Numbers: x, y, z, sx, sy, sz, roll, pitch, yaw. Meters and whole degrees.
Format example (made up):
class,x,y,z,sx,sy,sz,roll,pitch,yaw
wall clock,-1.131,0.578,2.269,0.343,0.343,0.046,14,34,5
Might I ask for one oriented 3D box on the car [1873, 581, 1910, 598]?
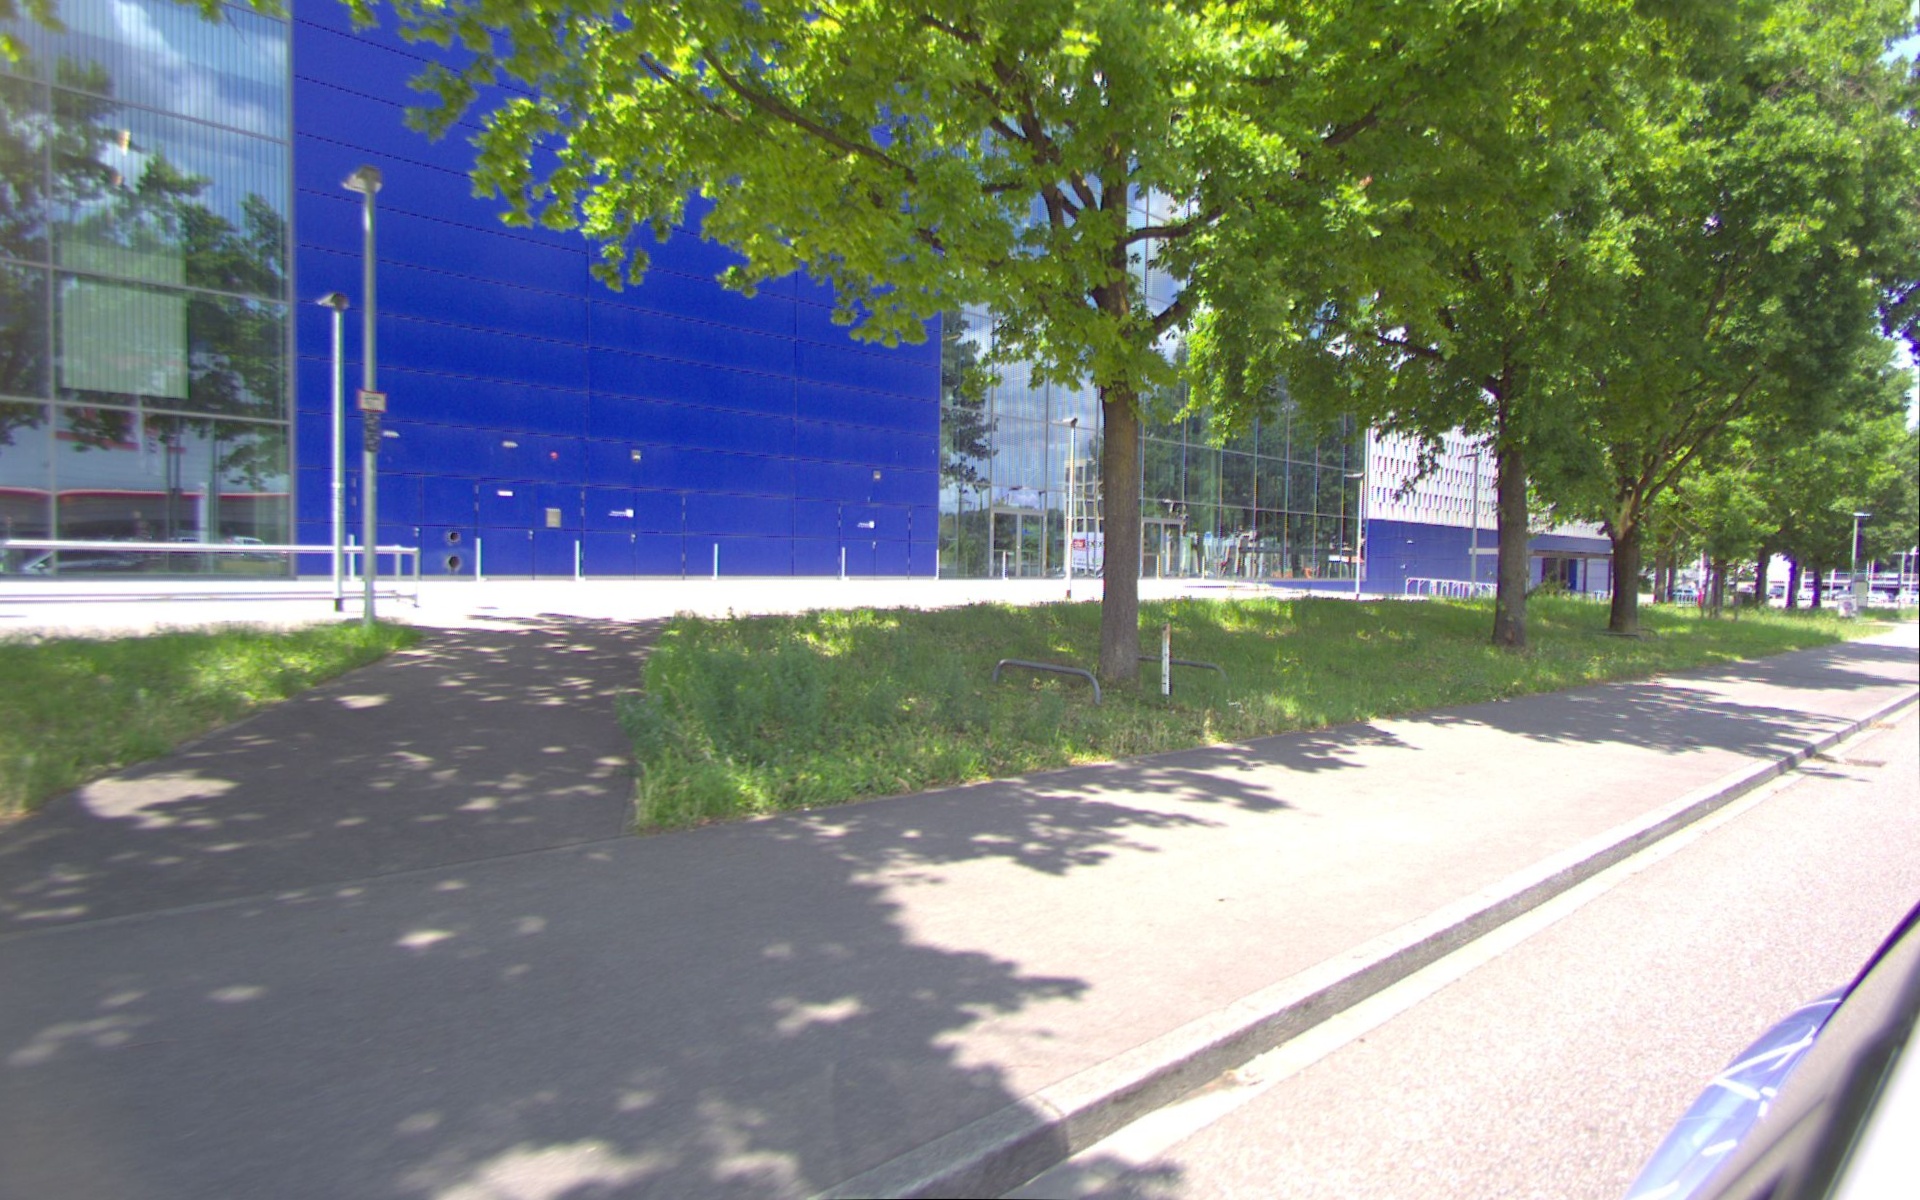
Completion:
class,x,y,z,sx,sy,sz,roll,pitch,yaw
car,94.935,-1.068,103.106,3.922,1.593,1.844,1,3,-34
